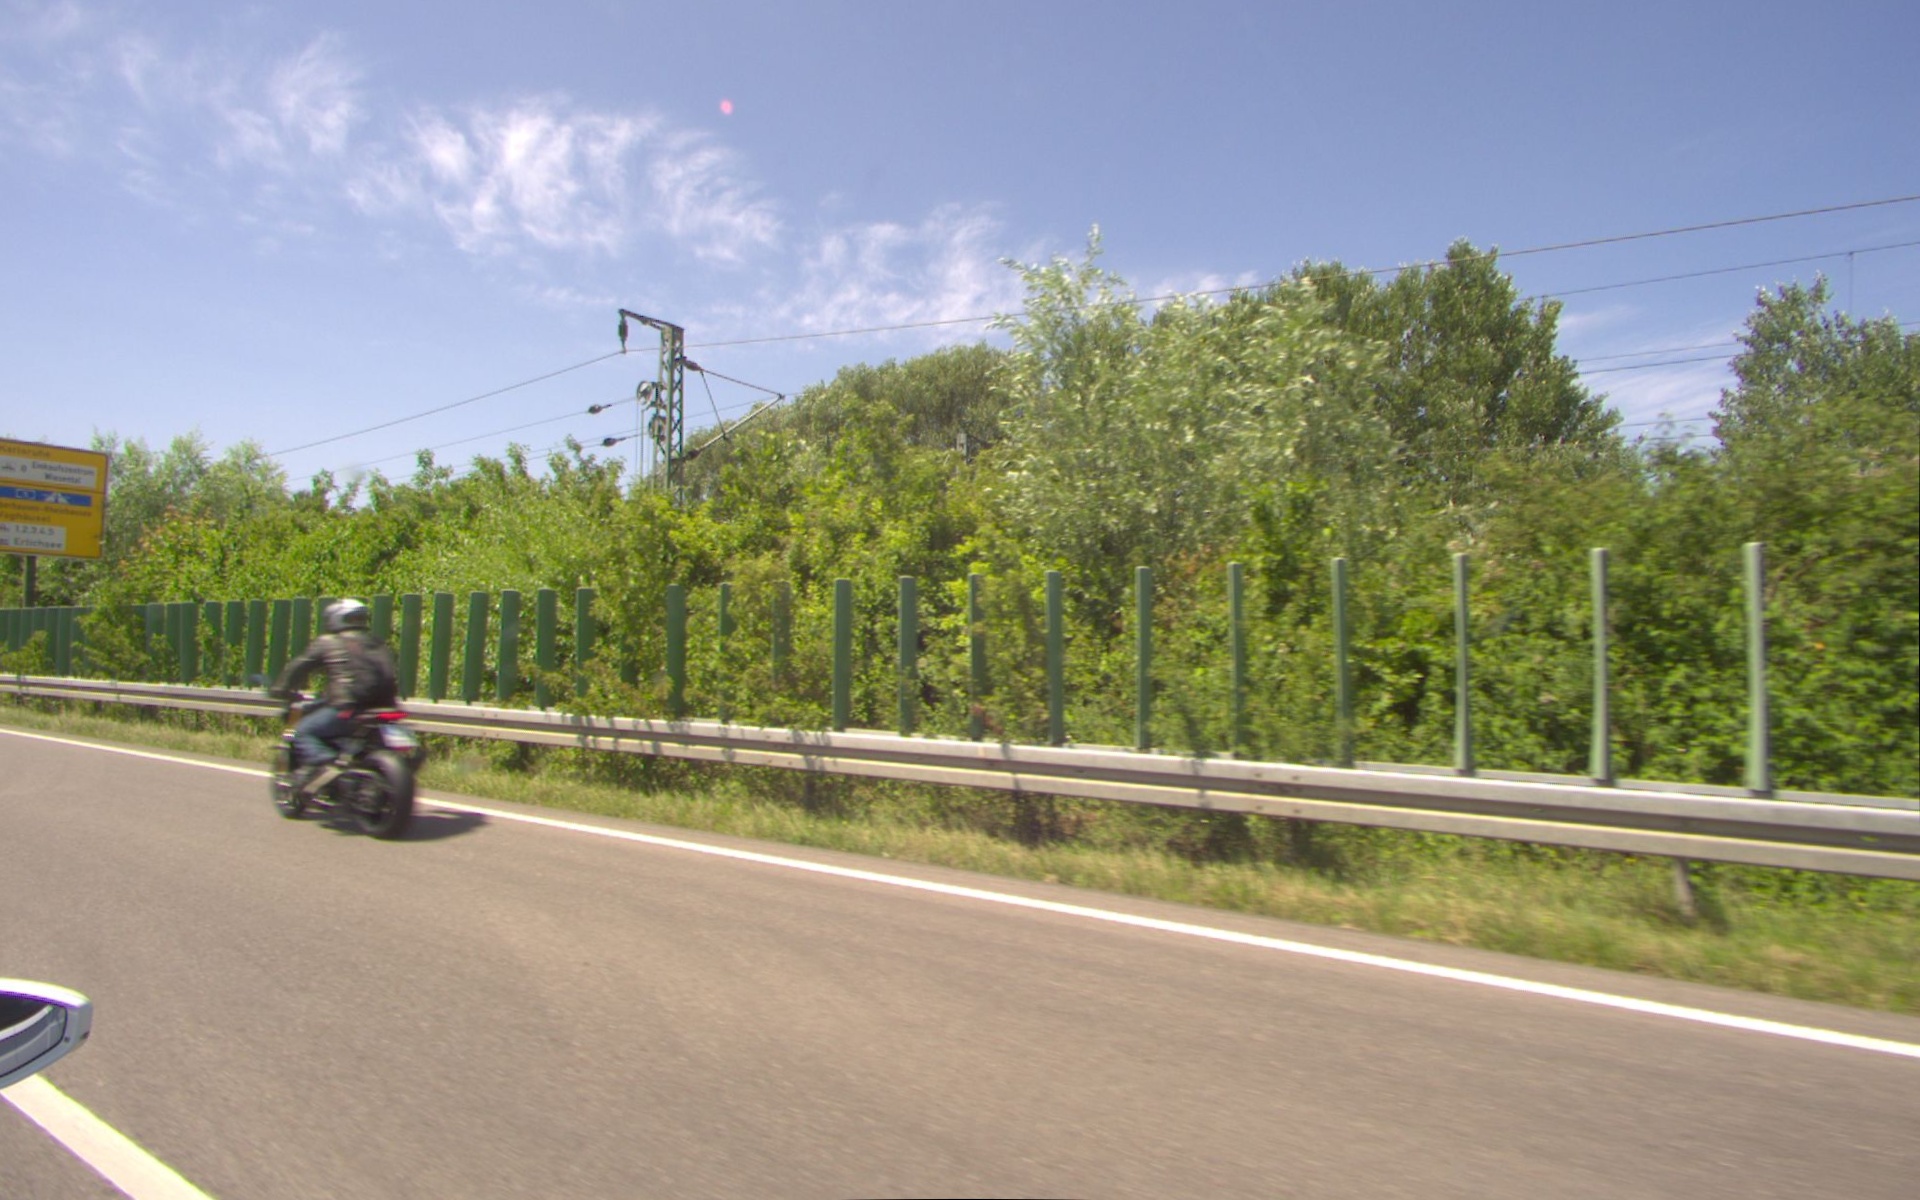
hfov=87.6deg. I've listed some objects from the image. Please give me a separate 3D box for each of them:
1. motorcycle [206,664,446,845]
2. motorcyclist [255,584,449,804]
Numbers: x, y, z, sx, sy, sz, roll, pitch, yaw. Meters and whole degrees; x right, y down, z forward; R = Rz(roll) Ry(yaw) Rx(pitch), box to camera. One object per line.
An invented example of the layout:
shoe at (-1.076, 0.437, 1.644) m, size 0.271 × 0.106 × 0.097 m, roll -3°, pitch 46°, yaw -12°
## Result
motorcycle at (-4.837, 1.096, 7.612) m, size 1.874 × 1.172 × 0.789 m, roll -1°, pitch -2°, yaw 32°
motorcyclist at (-4.527, 0.663, 7.481) m, size 0.988 × 1.495 × 0.888 m, roll -1°, pitch -1°, yaw 32°
